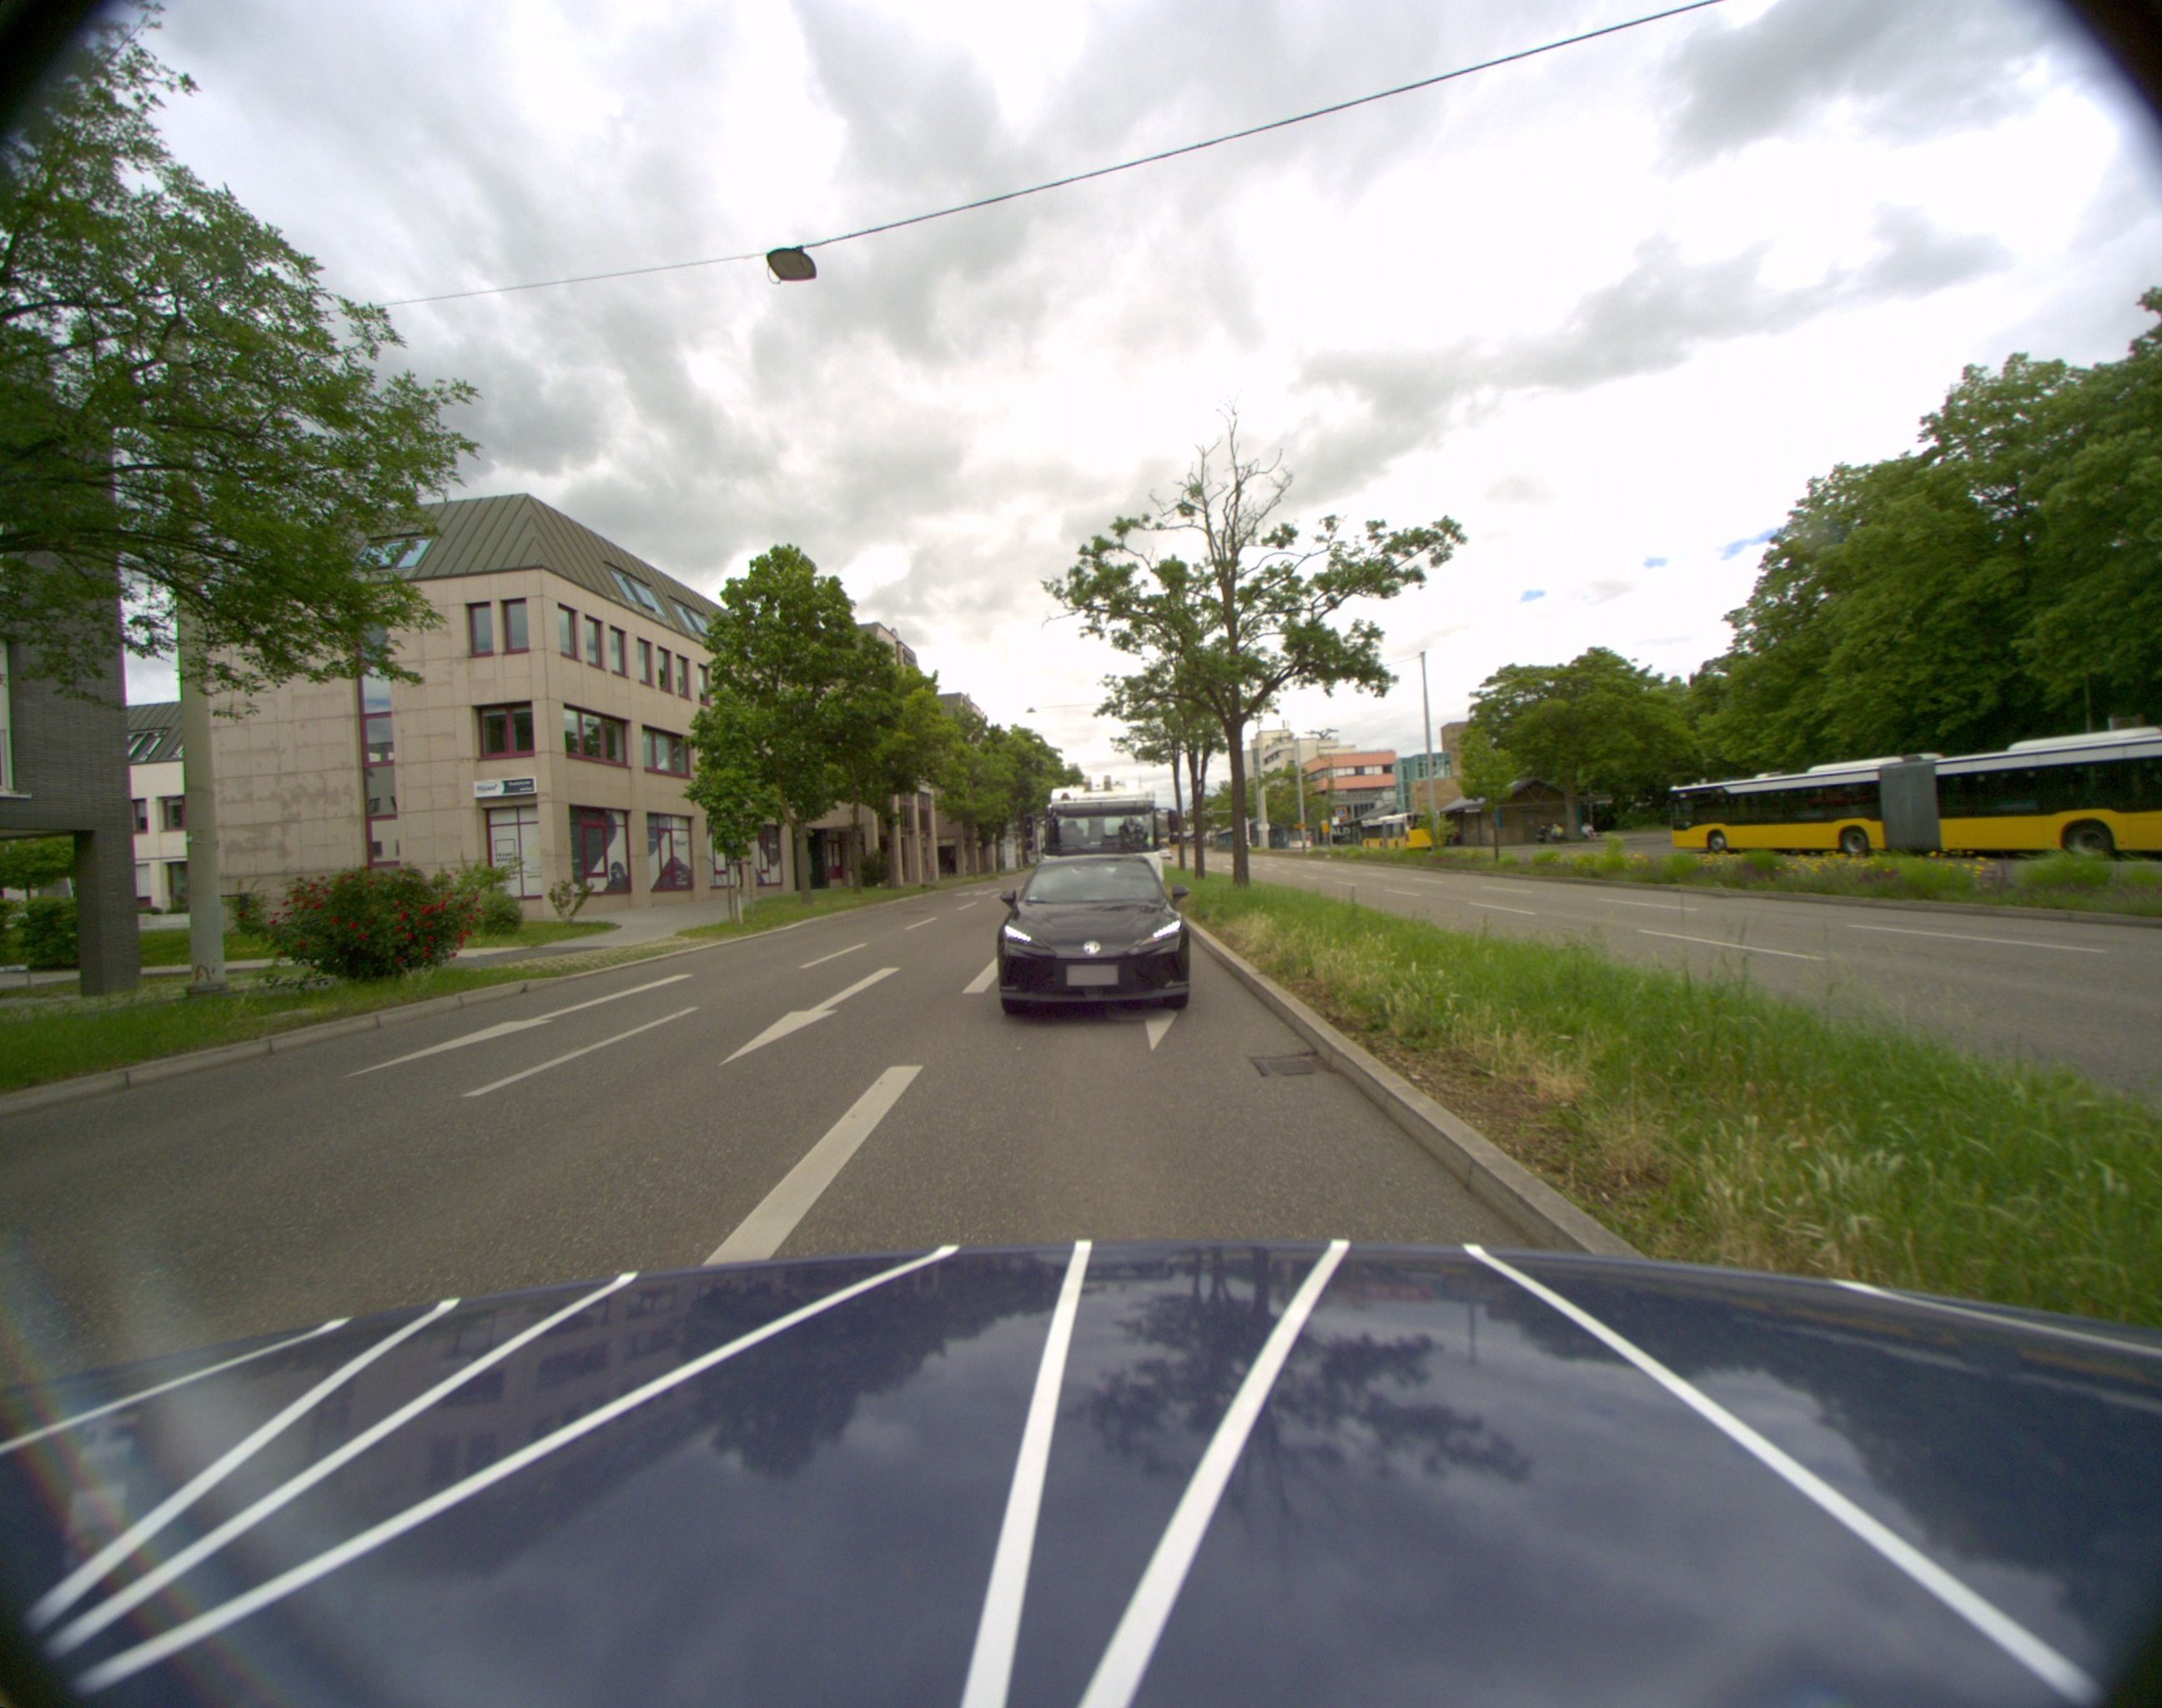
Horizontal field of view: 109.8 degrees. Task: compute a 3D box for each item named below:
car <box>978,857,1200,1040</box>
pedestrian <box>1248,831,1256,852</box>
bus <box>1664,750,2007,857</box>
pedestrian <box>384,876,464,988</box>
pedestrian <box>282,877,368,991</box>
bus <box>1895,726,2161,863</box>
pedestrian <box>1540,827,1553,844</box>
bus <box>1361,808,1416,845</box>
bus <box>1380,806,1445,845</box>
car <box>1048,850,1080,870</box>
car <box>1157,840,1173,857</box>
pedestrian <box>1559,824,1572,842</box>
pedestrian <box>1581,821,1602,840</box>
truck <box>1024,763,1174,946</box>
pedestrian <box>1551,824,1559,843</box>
[{"bbox_3d":[0.112,0.825,8.504,1.827,1.430,4.000,-3,0,1],"label":"car"},{"bbox_3d":[22.618,-1.697,100.711,0.903,2.772,1.148,-2,1,14],"label":"pedestrian"},{"bbox_3d":[26.148,-1.541,27.532,2.888,2.985,10.396,-3,0,6],"label":"bus"},{"bbox_3d":[-11.092,1.289,12.856,0.642,1.795,0.677,-3,1,1],"label":"pedestrian"},{"bbox_3d":[-12.587,1.315,12.667,0.642,1.795,0.677,-3,1,1],"label":"pedestrian"},{"bbox_3d":[25.165,-1.386,18.444,2.888,2.985,7.885,-3,0,6],"label":"bus"},{"bbox_3d":[31.337,-1.247,51.175,0.598,1.155,0.743,-2,1,22],"label":"pedestrian"},{"bbox_3d":[28.279,-2.436,70.275,2.887,2.985,9.181,-3,0,11],"label":"bus"},{"bbox_3d":[26.690,-2.203,61.607,2.887,2.793,9.182,-3,0,12],"label":"bus"},{"bbox_3d":[-1.334,0.476,62.785,1.997,1.455,4.002,-3,0,7],"label":"car"},{"bbox_3d":[10.277,-0.707,92.980,1.726,2.002,4.001,-3,1,3],"label":"car"},{"bbox_3d":[31.137,-1.349,48.867,0.598,1.155,0.744,-2,2,27],"label":"pedestrian"},{"bbox_3d":[32.369,-1.480,48.178,0.650,1.165,0.925,-3,1,1],"label":"pedestrian"},{"bbox_3d":[0.408,-0.022,17.436,2.544,3.187,7.368,-3,0,1],"label":"truck"},{"bbox_3d":[30.634,-1.331,49.119,0.367,1.160,0.899,-2,2,27],"label":"pedestrian"}]
